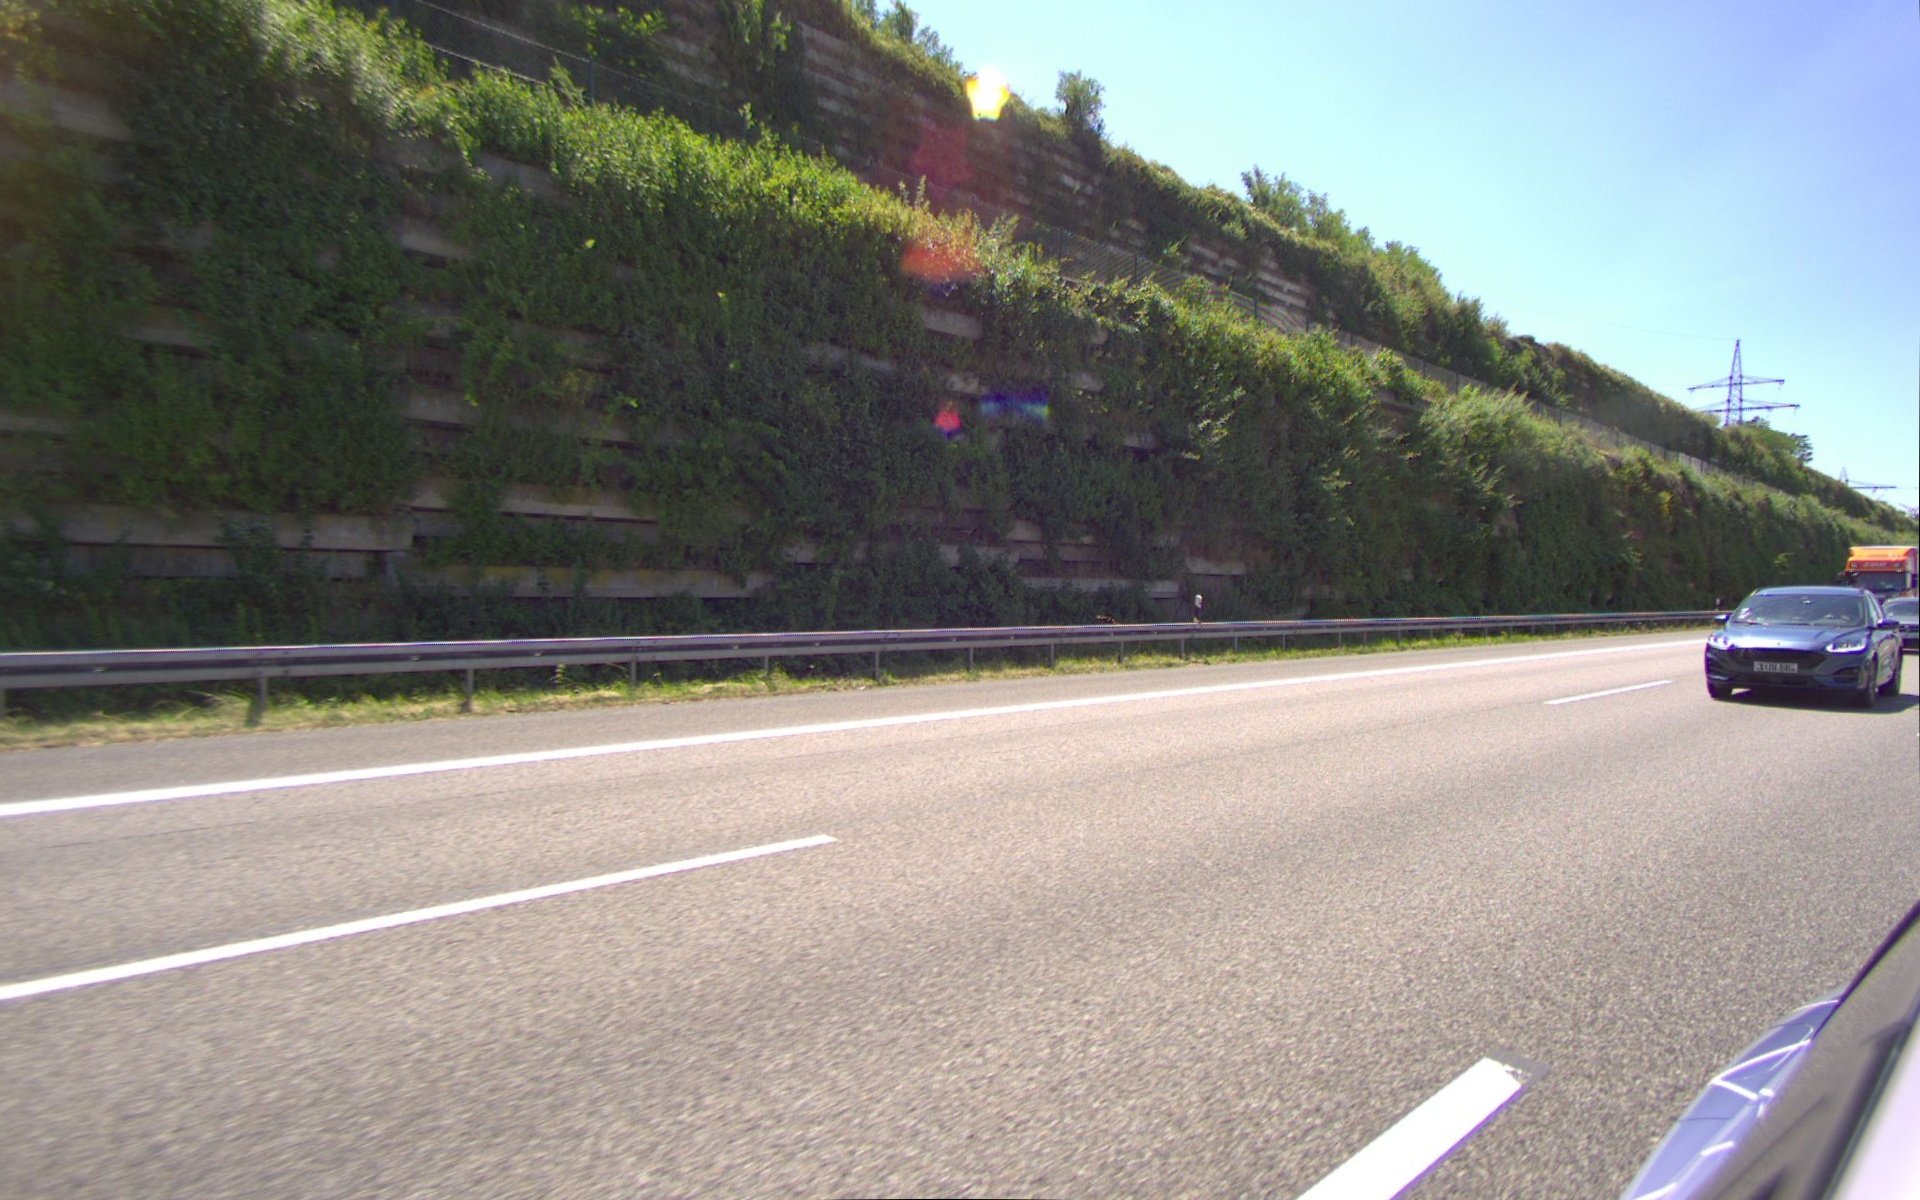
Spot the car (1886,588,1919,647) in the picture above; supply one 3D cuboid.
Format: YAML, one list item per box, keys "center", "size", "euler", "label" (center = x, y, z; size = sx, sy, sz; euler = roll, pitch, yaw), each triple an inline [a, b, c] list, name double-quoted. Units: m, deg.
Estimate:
- center: [27.128, 0.475, 28.050]
  size: [3.927, 1.544, 1.752]
  euler: [0, 2, -42]
  label: "car"

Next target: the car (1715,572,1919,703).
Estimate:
- center: [12.847, 0.458, 15.047]
  size: [4.066, 1.674, 1.797]
  euler: [0, 1, -41]
  label: "car"

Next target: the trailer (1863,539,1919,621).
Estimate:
- center: [51.699, -1.007, 54.797]
  size: [13.370, 4.055, 2.649]
  euler: [0, 1, -42]
  label: "trailer"

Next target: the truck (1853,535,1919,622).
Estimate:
- center: [46.483, -1.031, 50.100]
  size: [6.413, 4.042, 2.622]
  euler: [0, 1, -42]
  label: "truck"
